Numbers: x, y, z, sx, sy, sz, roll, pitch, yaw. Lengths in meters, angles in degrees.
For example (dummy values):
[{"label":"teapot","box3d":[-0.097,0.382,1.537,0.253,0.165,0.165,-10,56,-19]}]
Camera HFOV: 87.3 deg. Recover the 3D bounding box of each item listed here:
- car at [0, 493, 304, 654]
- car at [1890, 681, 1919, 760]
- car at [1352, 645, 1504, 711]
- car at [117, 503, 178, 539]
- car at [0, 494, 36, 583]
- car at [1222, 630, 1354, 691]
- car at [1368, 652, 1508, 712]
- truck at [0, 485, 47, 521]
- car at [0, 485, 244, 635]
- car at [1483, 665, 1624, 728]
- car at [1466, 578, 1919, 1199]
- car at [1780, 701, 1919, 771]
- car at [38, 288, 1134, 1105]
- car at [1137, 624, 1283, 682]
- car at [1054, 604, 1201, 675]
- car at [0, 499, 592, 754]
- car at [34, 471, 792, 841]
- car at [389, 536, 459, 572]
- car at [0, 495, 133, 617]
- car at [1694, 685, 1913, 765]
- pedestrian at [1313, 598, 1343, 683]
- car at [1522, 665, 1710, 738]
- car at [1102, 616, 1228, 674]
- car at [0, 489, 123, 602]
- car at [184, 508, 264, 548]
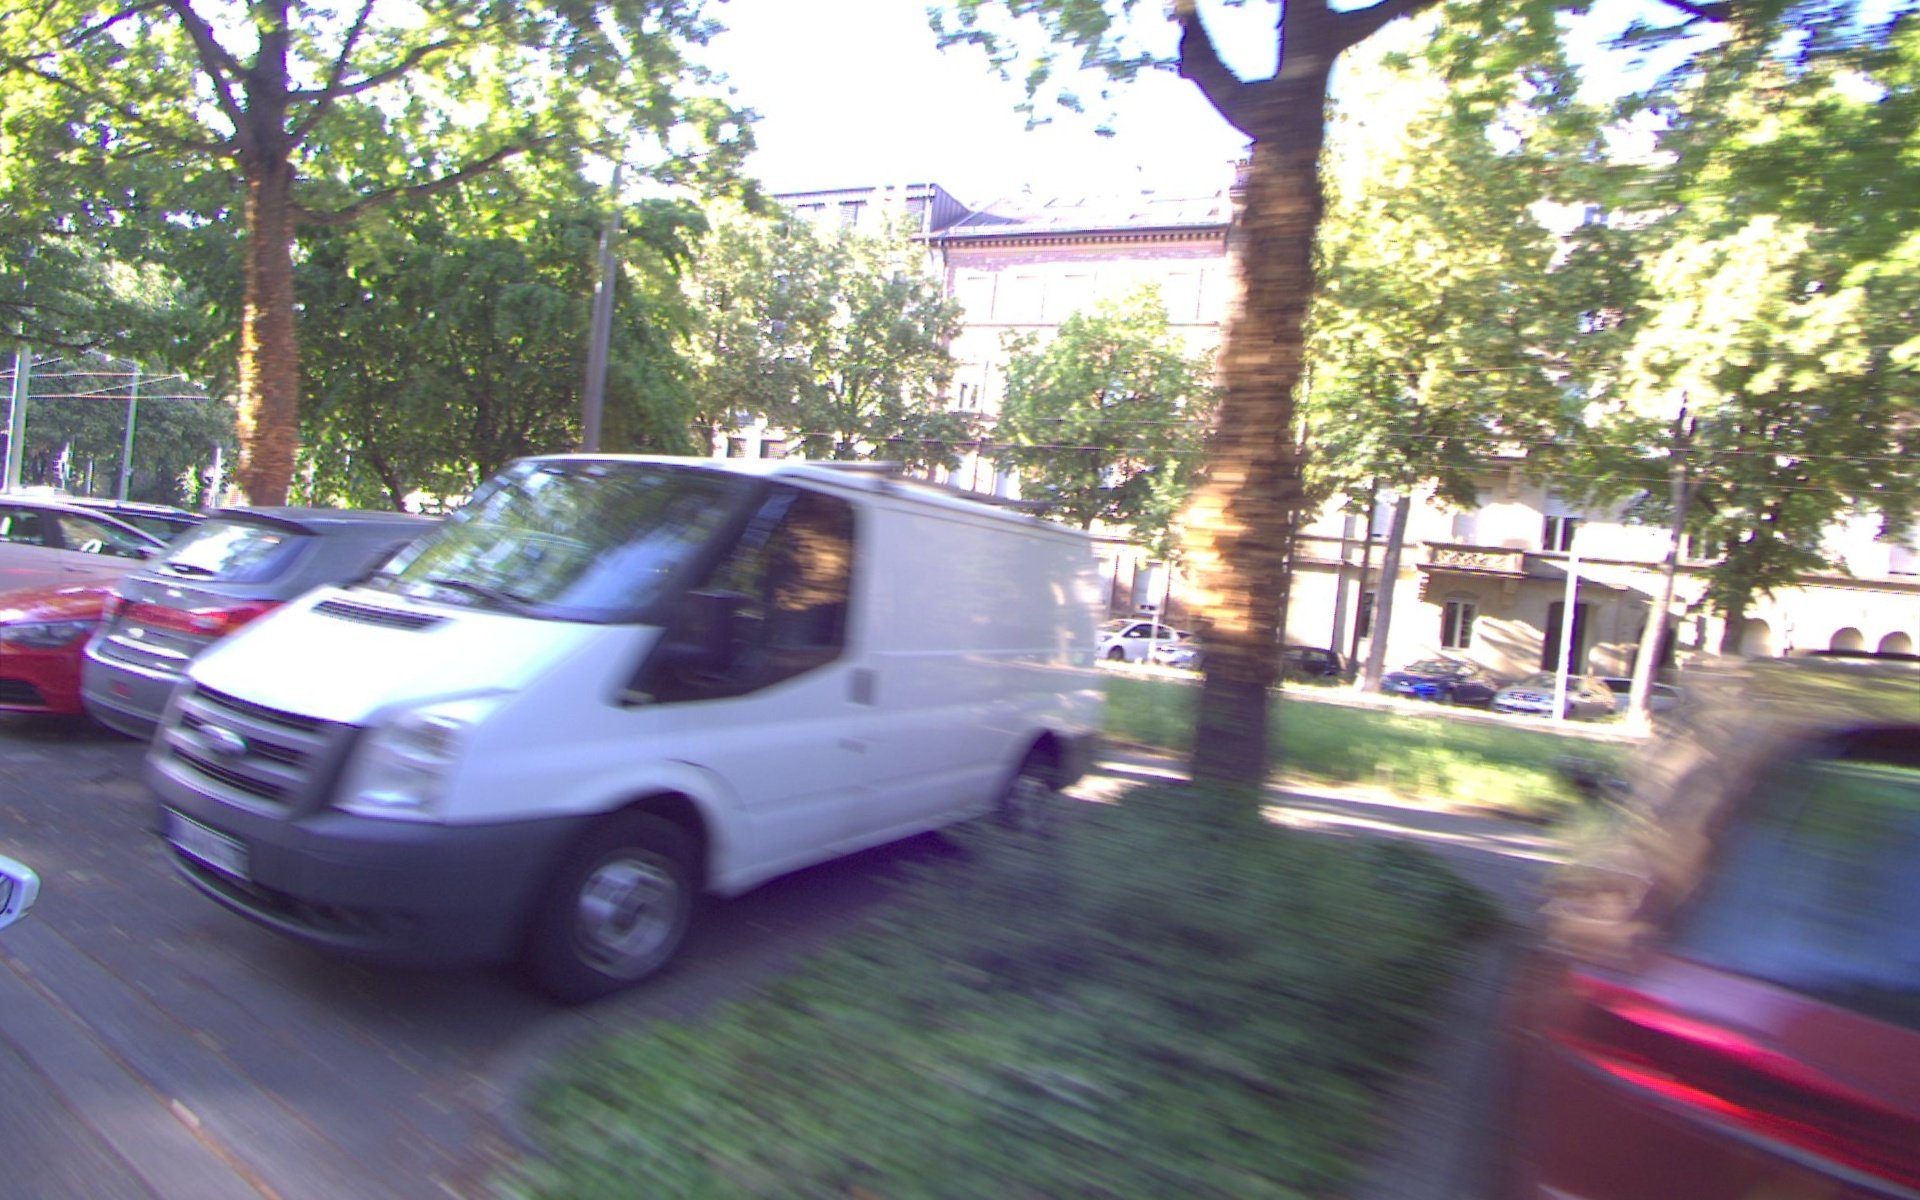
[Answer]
[{"label":"car","box3d":[-9.362,-0.298,10.350,1.656,1.479,3.989,7,1,32]},{"label":"car","box3d":[29.945,3.740,28.586,4.527,2.200,1.999,6,1,21]},{"label":"car","box3d":[15.636,2.573,33.903,4.335,1.588,1.999,6,1,20]},{"label":"car","box3d":[-54.162,-5.271,67.059,3.833,1.927,1.574,6,1,27]},{"label":"car","box3d":[-19.482,-1.334,17.579,1.919,1.592,4.540,5,-1,34]},{"label":"car","box3d":[11.537,2.089,35.435,4.163,1.588,1.999,6,1,20]},{"label":"car","box3d":[13.013,2.243,27.311,3.965,1.295,1.730,6,1,-38]},{"label":"truck","box3d":[-73.920,-7.662,78.860,4.312,2.382,2.368,6,0,33]},{"label":"car","box3d":[-11.574,-0.564,11.808,1.968,1.592,4.702,5,-1,34]},{"label":"car","box3d":[15.509,2.532,26.241,3.965,1.295,1.730,6,1,-38]},{"label":"car","box3d":[2.519,0.930,2.755,1.656,1.573,3.989,7,1,32]},{"label":"car","box3d":[21.298,3.225,24.015,3.965,1.295,1.730,6,1,-38]},{"label":"car","box3d":[-1.124,0.282,5.150,2.120,2.064,4.847,7,1,32]},{"label":"car","box3d":[7.327,1.563,29.326,4.243,1.295,1.791,6,1,-37]},{"label":"car","box3d":[5.150,1.224,30.746,4.239,1.717,1.793,6,1,-34]},{"label":"car","box3d":[-5.115,0.184,7.812,1.656,1.441,3.989,7,1,32]},{"label":"car","box3d":[-3.122,0.291,6.626,1.736,1.600,3.991,6,1,30]},{"label":"car","box3d":[-32.526,-2.764,61.192,1.888,1.676,4.185,9,-1,-2]},{"label":"car","box3d":[-13.534,-0.707,13.465,1.691,1.533,3.400,7,0,34]},{"label":"car","box3d":[25.282,3.712,30.374,4.527,1.588,1.999,6,1,21]},{"label":"pedestrian","box3d":[13.323,1.461,36.455,0.687,2.985,0.920,6,1,20]},{"label":"car","box3d":[20.706,3.169,31.991,4.527,1.588,1.999,6,1,21]},{"label":"car","box3d":[7.579,1.630,37.098,4.163,1.588,1.999,6,1,20]},{"label":"car","box3d":[-15.640,-0.984,14.794,1.968,1.592,4.702,5,-1,34]},{"label":"car","box3d":[-46.174,-4.513,63.088,4.575,2.028,1.949,6,0,24]}]
